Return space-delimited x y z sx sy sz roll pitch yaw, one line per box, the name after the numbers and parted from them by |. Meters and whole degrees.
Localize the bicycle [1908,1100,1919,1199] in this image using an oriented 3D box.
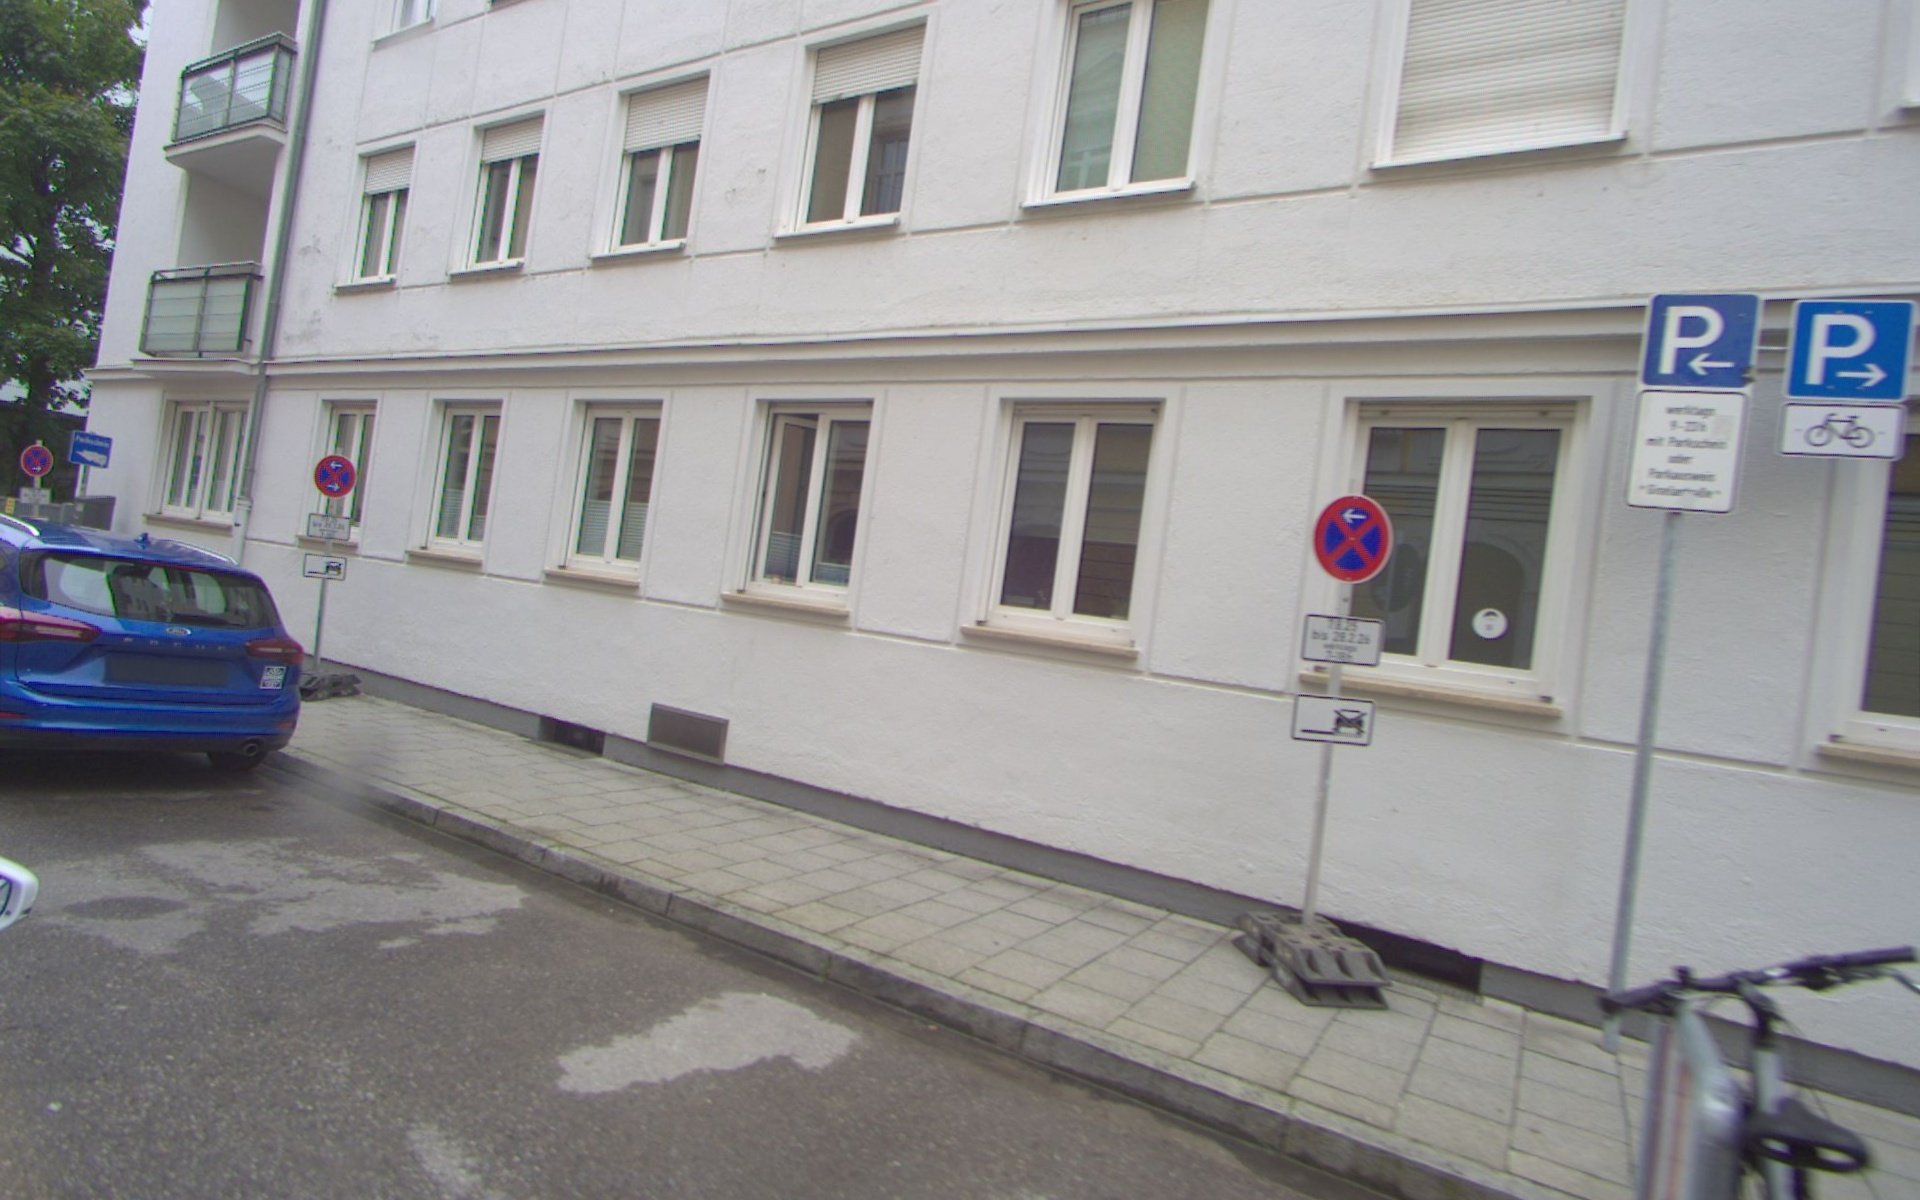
1.978 1.238 1.763 0.325 1.056 1.434 7 0 39 | bicycle

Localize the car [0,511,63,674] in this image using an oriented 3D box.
-10.865 -0.376 9.639 4.222 1.462 1.768 7 -3 26 | car

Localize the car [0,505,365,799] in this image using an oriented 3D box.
-6.165 0.162 6.800 4.312 1.454 1.799 7 -4 33 | car

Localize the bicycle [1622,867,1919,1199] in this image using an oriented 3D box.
1.464 1.171 1.791 0.354 1.056 1.704 7 0 32 | bicycle
